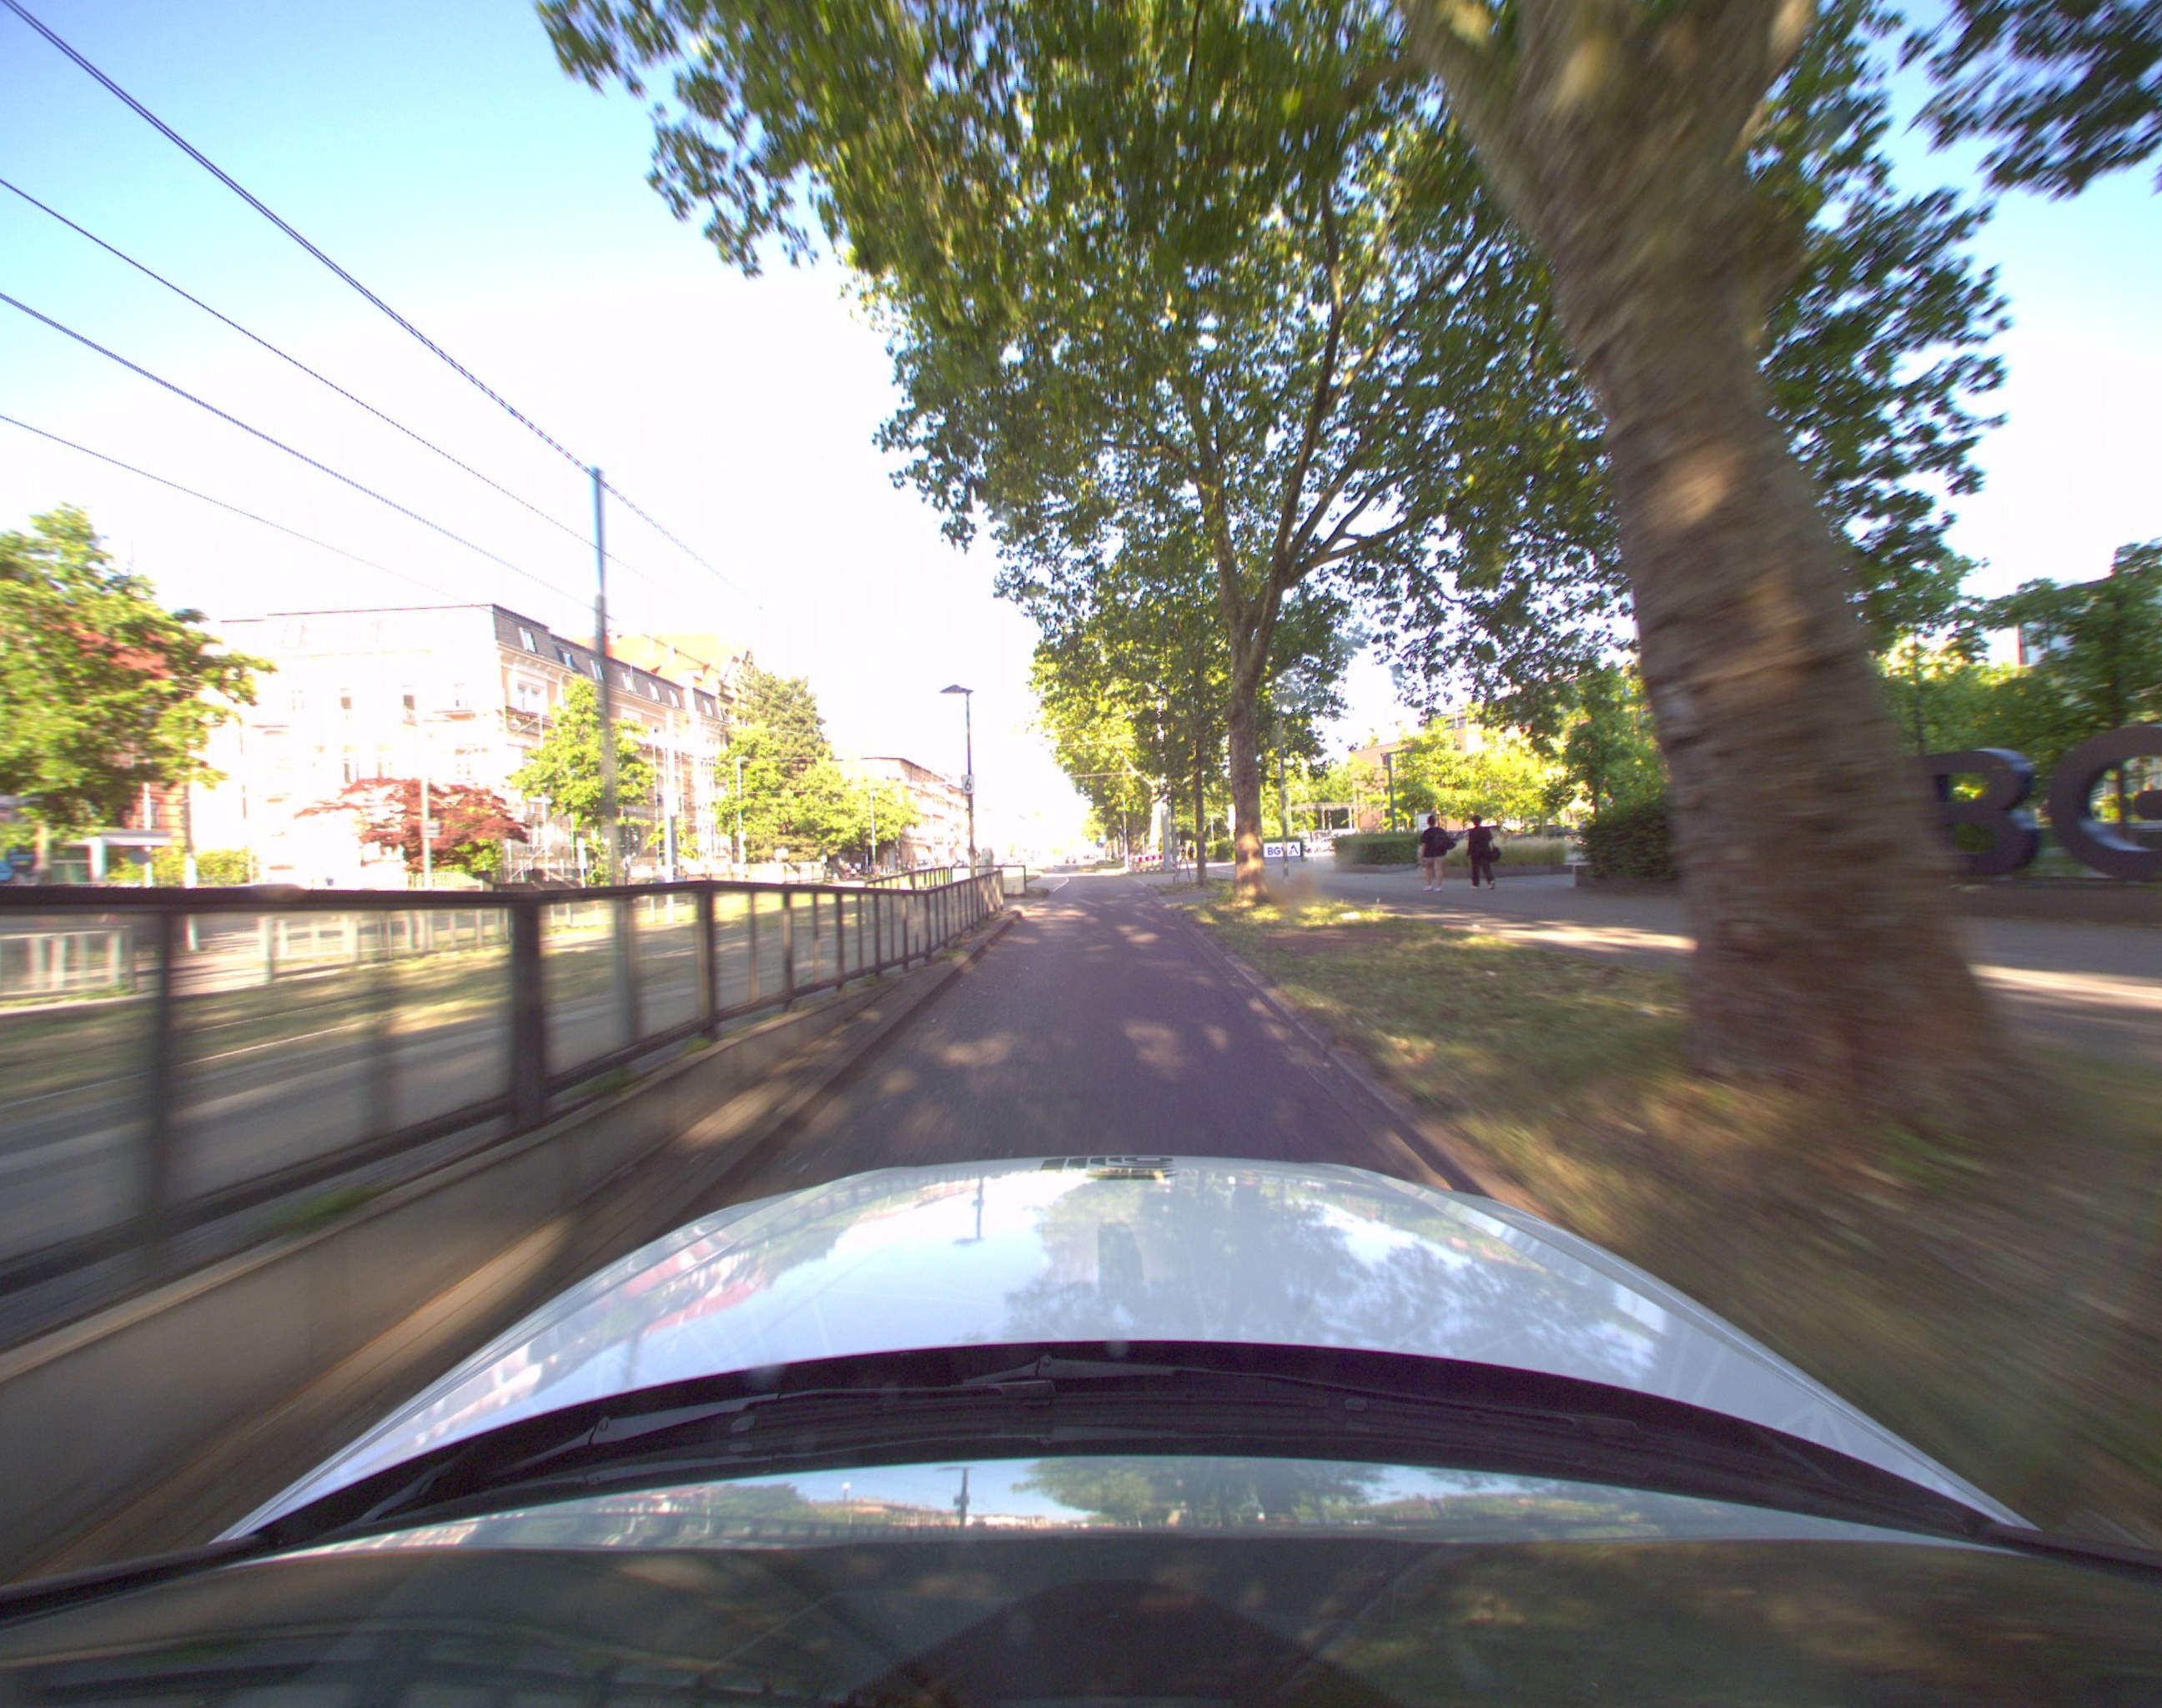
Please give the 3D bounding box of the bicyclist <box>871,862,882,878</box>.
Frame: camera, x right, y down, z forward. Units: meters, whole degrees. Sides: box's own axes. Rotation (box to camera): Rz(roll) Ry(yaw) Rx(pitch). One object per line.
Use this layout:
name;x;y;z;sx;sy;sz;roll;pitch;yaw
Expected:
bicyclist;-19.571;1.536;77.893;0.772;1.481;1.134;-1;0;1

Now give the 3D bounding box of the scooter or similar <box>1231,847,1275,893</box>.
scooter or similar;4.857;0.448;23.109;1.047;1.244;0.842;-4;-1;3

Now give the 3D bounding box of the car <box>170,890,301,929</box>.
car;-36.559;2.364;35.342;1.600;1.408;3.852;-1;0;1

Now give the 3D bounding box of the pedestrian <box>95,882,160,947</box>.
pedestrian;-25.889;1.626;22.132;0.723;1.647;0.811;-4;-1;-5

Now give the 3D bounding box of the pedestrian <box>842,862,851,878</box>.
pedestrian;-24.488;1.664;85.166;0.648;1.539;0.783;-4;-1;0

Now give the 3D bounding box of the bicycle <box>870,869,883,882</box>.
bicycle;-19.573;2.007;77.949;0.772;1.193;1.756;-1;0;1

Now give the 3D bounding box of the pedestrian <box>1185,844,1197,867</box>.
pedestrian;9.121;0.133;67.616;0.747;1.793;1.086;-4;-1;1

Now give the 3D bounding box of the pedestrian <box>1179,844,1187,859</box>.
pedestrian;10.812;-0.248;86.210;0.647;1.539;0.783;-4;-1;1

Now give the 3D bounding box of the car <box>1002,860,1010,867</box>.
car;-18.306;2.281;199.439;1.521;1.560;3.224;-1;1;1

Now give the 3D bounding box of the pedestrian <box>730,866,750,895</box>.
pedestrian;-23.647;1.815;56.472;0.855;1.928;1.086;-4;-1;0

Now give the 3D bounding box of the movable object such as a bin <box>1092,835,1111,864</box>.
movable object such as a bin;3.842;-0.752;152.843;3.077;5.088;8.892;-5;0;1

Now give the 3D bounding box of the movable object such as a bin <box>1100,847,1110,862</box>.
movable object such as a bin;5.112;0.147;174.990;1.961;3.013;4.796;-5;0;1

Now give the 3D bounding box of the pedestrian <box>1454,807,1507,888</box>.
pedestrian;8.569;-0.136;17.494;0.647;1.656;0.783;-4;-1;1

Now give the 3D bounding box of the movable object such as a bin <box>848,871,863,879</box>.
movable object such as a bin;-24.674;2.259;89.150;1.241;0.865;1.236;-1;-1;-1

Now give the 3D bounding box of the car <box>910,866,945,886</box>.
car;-16.142;2.359;85.704;1.926;1.919;4.486;4;-1;12

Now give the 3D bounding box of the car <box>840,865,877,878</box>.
car;-27.099;2.121;99.144;4.138;1.471;2.012;-2;-1;30

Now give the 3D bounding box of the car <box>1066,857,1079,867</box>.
car;-1.479;1.310;138.168;1.986;1.684;4.001;-1;0;1

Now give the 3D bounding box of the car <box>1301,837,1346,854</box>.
car;25.599;-0.904;85.907;4.174;1.506;1.987;-4;1;-20

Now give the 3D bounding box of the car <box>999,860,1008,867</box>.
car;-18.431;2.260;193.895;1.735;1.560;3.768;-1;1;1

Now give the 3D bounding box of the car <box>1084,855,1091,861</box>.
car;1.972;1.331;257.738;1.990;1.860;3.993;-1;0;-5

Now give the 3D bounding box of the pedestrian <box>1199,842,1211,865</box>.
pedestrian;10.307;-0.051;67.726;0.802;1.793;1.110;-4;-1;1

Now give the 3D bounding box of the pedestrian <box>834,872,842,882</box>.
pedestrian;-23.739;2.221;79.535;0.648;0.932;0.584;-4;-1;-4

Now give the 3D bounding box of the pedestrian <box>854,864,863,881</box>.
pedestrian;-23.160;1.909;84.721;0.648;1.775;0.888;-4;-1;0

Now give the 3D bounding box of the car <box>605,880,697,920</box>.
car;-17.370;1.803;33.072;1.600;1.408;3.852;-1;0;1

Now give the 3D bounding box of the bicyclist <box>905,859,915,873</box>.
bicyclist;-22.372;1.507;106.586;0.914;1.714;0.768;-2;5;6

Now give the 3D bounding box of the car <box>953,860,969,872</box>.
car;-20.470;2.042;138.865;2.008;1.754;4.559;-1;1;1

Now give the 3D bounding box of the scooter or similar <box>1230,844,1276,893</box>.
scooter or similar;4.684;0.383;22.220;1.047;1.244;0.842;-4;-1;3

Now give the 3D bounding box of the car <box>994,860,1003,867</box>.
car;-19.140;2.276;189.143;1.735;1.560;3.768;-1;1;1

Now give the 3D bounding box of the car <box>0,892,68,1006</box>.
car;-18.341;1.548;11.936;1.856;1.806;4.031;-1;0;3

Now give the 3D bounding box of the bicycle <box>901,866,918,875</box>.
bicycle;-22.496;2.207;106.666;1.943;1.040;0.768;-2;6;6

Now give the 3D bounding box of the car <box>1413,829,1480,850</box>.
car;28.922;-1.138;64.397;4.684;1.383;1.962;-4;1;-18

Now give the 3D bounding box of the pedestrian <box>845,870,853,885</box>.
pedestrian;-25.094;2.483;87.934;0.616;1.593;0.797;-1;-1;-1

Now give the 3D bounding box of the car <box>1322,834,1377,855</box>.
car;25.421;-0.896;77.106;4.687;1.713;1.836;-4;1;-20

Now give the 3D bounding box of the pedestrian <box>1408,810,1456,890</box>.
pedestrian;7.621;-0.090;17.706;0.625;1.656;0.740;-4;-1;1
